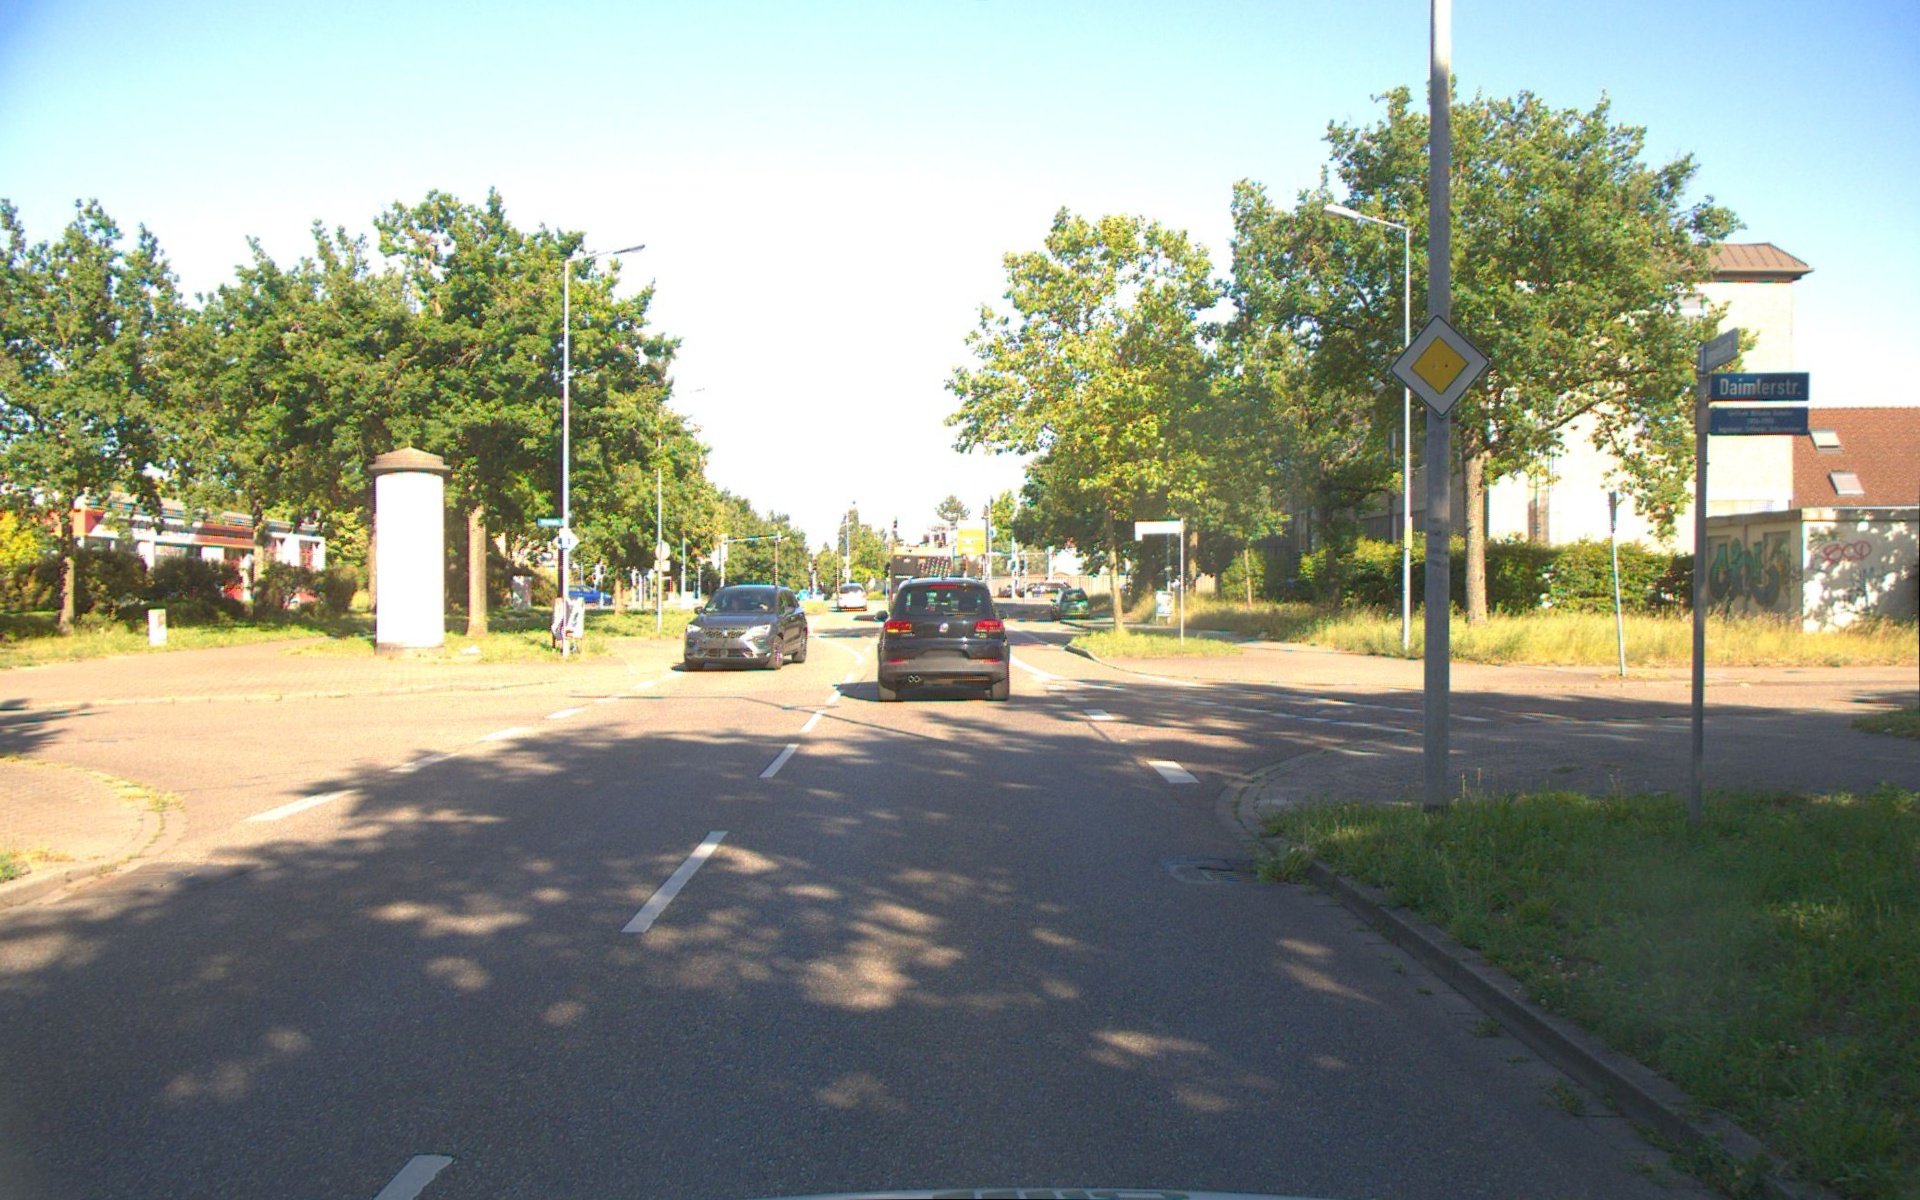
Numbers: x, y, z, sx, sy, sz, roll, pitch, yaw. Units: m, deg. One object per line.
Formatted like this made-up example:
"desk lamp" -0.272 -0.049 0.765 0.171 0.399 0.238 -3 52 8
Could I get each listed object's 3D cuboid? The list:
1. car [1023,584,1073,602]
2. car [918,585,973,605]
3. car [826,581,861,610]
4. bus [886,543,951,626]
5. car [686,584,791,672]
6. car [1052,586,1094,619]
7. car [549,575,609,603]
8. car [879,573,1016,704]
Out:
"car" 7.275 -0.583 136.154 3.822 1.363 1.678 1 -1 -12
"car" -0.953 -0.336 108.475 3.447 1.325 1.576 0 0 6
"car" -6.798 -0.230 96.192 1.721 1.648 4.025 0 0 -9
"bus" -1.976 -0.684 74.355 2.544 3.392 11.977 1 0 -3
"car" -4.351 0.530 32.990 1.719 1.623 4.296 0 0 -3
"car" 5.318 0.122 78.276 1.560 1.453 4.202 -2 0 -2
"car" -27.133 -0.775 117.865 3.911 1.913 1.997 1 -1 -7
"car" -0.184 0.517 23.678 1.784 1.703 4.002 0 0 -1
